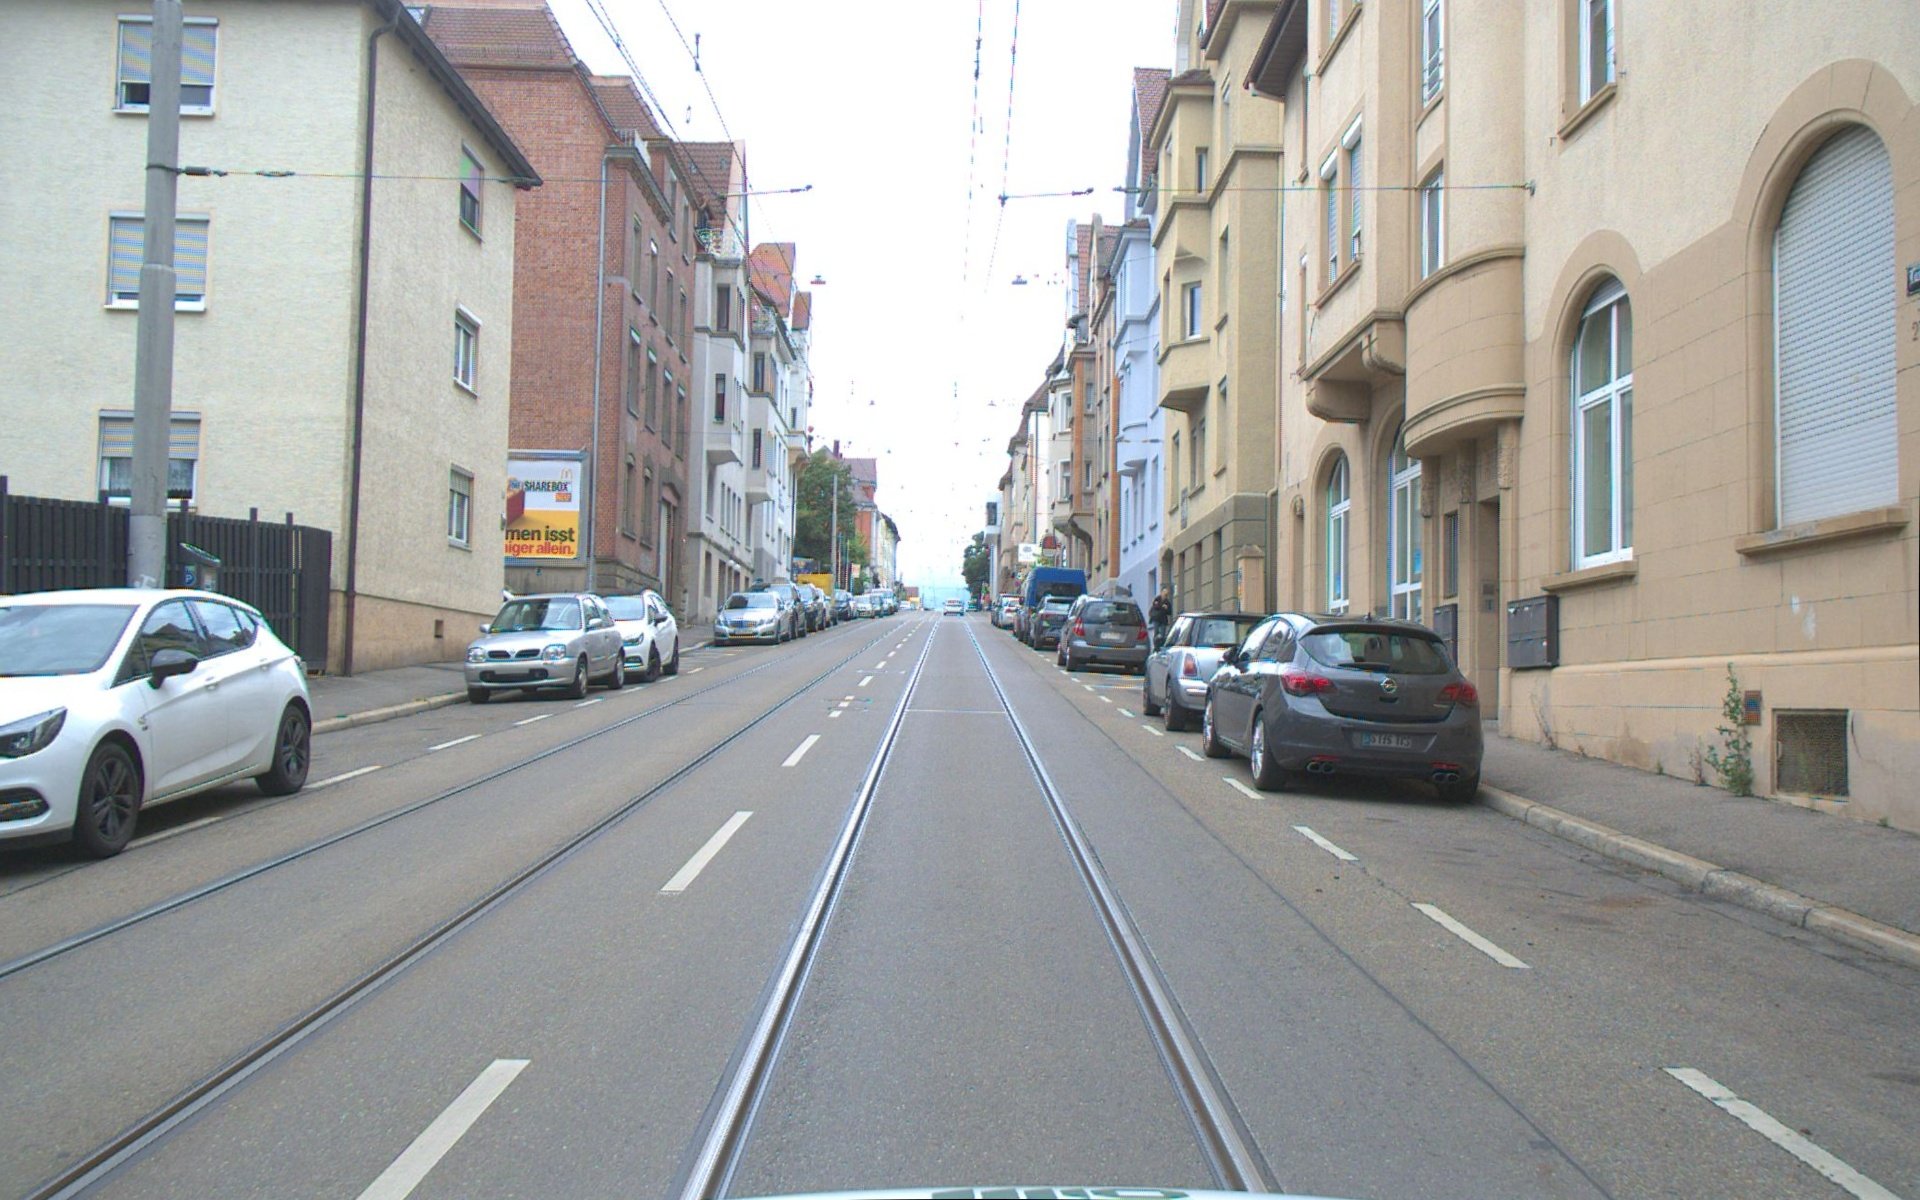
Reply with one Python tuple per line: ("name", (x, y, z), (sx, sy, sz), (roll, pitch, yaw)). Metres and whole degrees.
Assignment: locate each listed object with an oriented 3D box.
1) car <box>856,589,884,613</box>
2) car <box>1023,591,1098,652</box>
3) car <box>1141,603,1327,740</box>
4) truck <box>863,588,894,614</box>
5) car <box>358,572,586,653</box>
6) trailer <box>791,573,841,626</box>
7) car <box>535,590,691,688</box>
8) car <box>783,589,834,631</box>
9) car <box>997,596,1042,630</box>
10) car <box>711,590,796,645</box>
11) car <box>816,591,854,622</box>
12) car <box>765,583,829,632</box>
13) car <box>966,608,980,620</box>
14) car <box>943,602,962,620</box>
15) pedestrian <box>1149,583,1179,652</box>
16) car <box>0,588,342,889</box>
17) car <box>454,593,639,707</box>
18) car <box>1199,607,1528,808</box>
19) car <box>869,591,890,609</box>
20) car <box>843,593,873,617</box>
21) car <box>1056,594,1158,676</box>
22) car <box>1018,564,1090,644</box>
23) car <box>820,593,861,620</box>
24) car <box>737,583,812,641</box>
("car", (-6.657, 0.071, 122.125), (1.708, 1.766, 4.519), (-1, 0, 1))
("car", (2.869, 0.609, 48.015), (1.744, 1.557, 4.191), (5, 0, -1))
("car", (3.319, 0.814, 20.690), (1.660, 1.428, 3.667), (3, 0, 0))
("truck", (-7.224, 0.087, 147.042), (2.233, 2.226, 8.025), (1, 0, 1))
("car", (-11.966, 0.291, 40.822), (5.072, 1.850, 1.939), (-1, 0, -5))
("trailer", (-6.173, -0.018, 71.279), (1.712, 2.193, 4.071), (-1, 0, 0))
("car", (-5.774, 0.594, 28.066), (1.791, 1.454, 4.625), (-2, 0, -2))
("car", (-6.116, 0.391, 67.110), (1.662, 1.621, 4.268), (-1, 0, 0))
("car", (2.686, 0.574, 75.336), (1.715, 1.414, 4.306), (3, 0, -2))
("car", (-5.845, 0.471, 47.283), (1.790, 1.454, 4.839), (-1, 0, 0))
("car", (-6.241, 0.325, 82.936), (1.662, 1.494, 3.023), (-1, 0, 0))
("car", (-5.959, 0.241, 60.960), (1.835, 1.693, 4.891), (-1, 0, 0))
("car", (1.832, 2.022, 233.286), (1.953, 1.590, 4.289), (1, 0, 0))
("car", (-0.692, 0.998, 148.973), (1.638, 1.539, 3.796), (1, 0, -2))
("pedestrian", (5.172, 0.446, 41.917), (0.530, 1.711, 0.515), (-3, -3, -9))
("car", (-5.392, 0.670, 9.996), (1.684, 1.427, 4.313), (-2, 0, 0))
("car", (-5.751, 0.640, 23.420), (1.567, 1.392, 3.807), (-2, 0, 1))
("car", (3.355, 0.833, 14.589), (1.802, 1.427, 4.167), (3, -1, 0))
("car", (-6.832, -0.009, 140.262), (1.662, 1.458, 4.480), (-1, 0, -2))
("car", (-6.792, 0.331, 110.713), (1.662, 1.583, 3.850), (1, 0, 1))
("car", (3.116, 0.702, 35.734), (1.790, 1.545, 4.028), (3, 0, 0))
("car", (2.992, 0.143, 53.432), (1.953, 2.418, 5.055), (2, -1, 0))
("car", (-6.343, 0.332, 87.996), (1.743, 1.381, 4.292), (1, 0, 1))
("car", (-5.853, 0.346, 52.756), (1.790, 1.748, 4.913), (-1, 0, 0))
